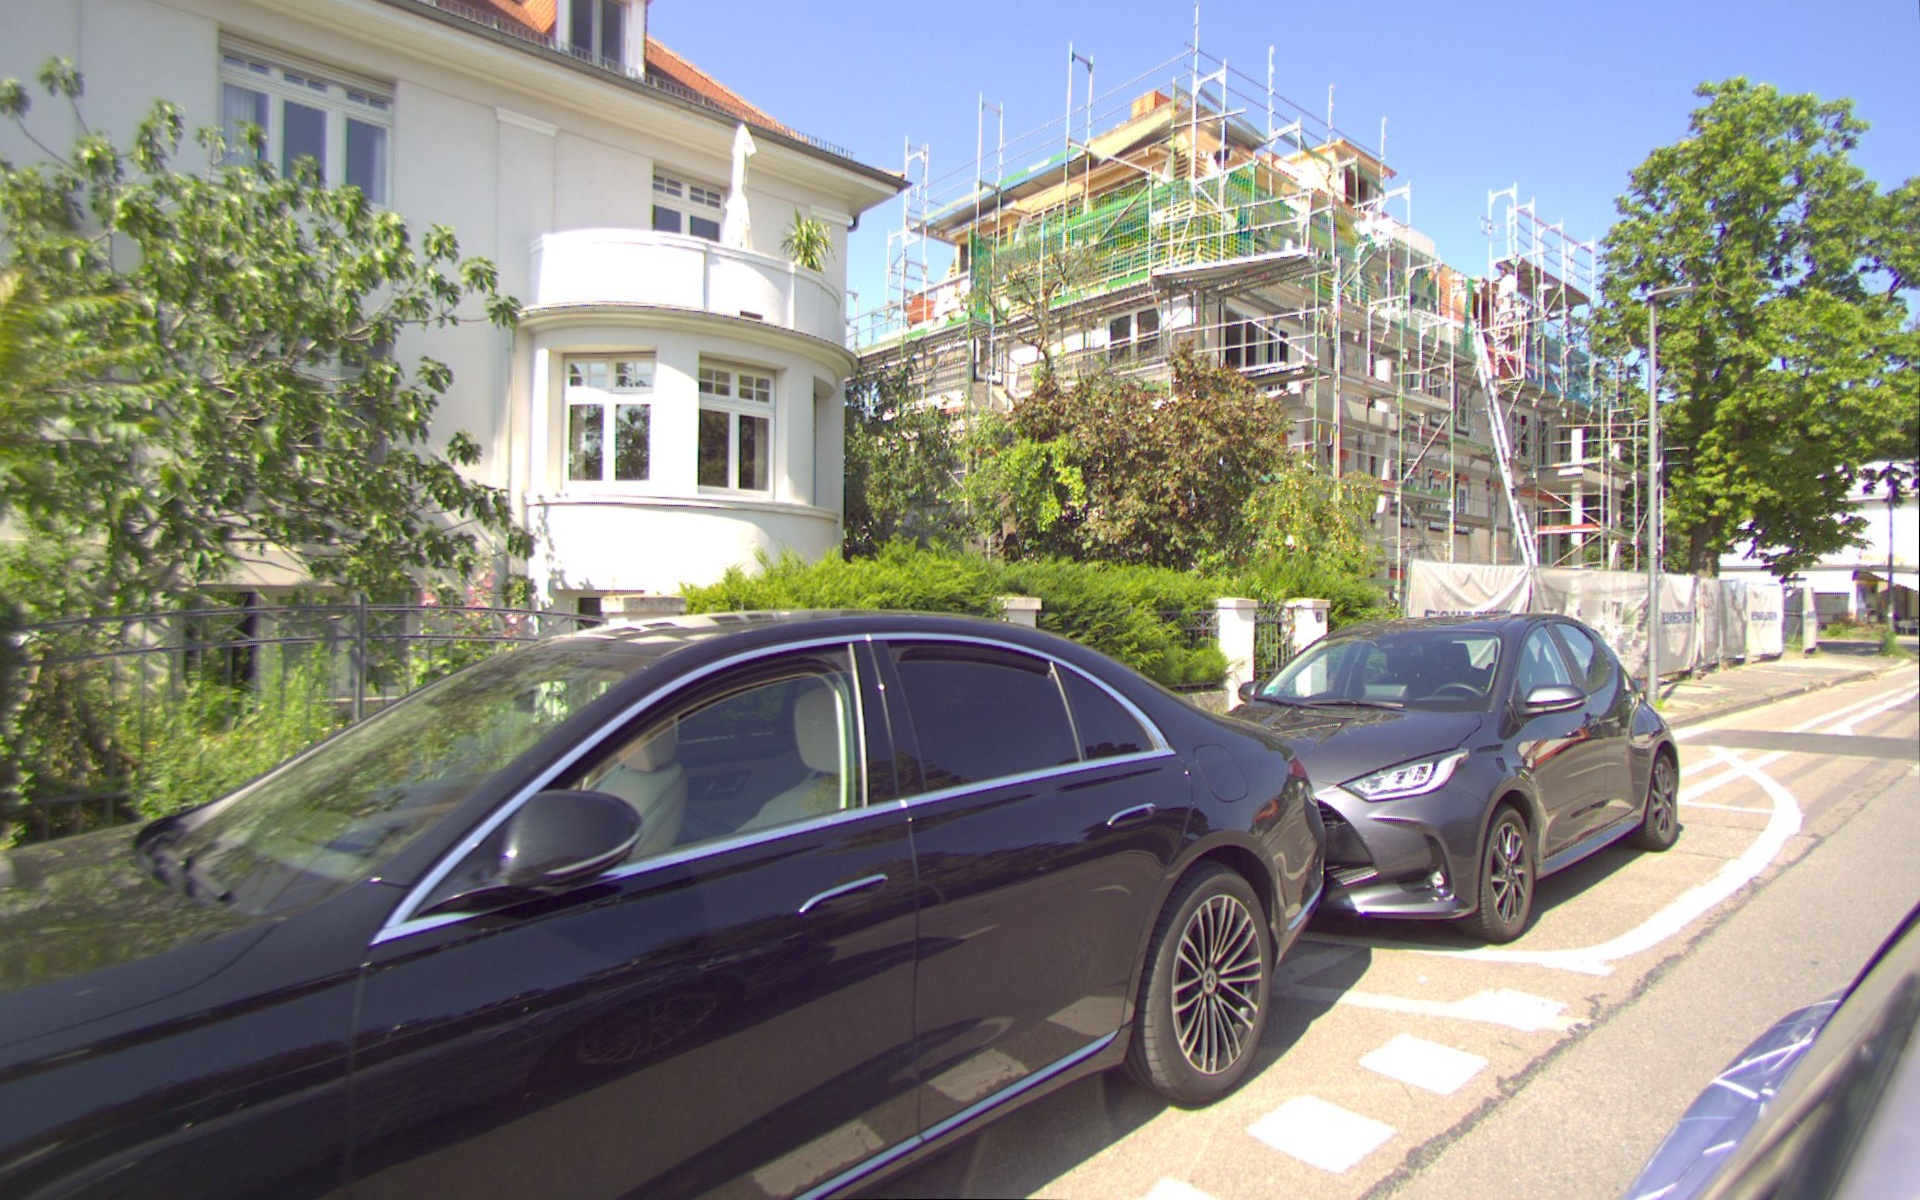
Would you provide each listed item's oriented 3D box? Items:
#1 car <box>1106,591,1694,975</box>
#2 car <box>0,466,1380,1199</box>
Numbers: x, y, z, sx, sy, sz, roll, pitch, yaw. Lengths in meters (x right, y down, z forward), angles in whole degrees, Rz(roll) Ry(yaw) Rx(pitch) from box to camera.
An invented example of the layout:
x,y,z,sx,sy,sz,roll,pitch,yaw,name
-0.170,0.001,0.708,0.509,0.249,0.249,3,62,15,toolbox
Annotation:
x,y,z,sx,sy,sz,roll,pitch,yaw,name
2.705,0.749,5.834,3.721,1.495,1.659,0,-3,-42,car
-0.761,0.674,2.756,4.819,1.603,1.697,0,-3,-44,car
